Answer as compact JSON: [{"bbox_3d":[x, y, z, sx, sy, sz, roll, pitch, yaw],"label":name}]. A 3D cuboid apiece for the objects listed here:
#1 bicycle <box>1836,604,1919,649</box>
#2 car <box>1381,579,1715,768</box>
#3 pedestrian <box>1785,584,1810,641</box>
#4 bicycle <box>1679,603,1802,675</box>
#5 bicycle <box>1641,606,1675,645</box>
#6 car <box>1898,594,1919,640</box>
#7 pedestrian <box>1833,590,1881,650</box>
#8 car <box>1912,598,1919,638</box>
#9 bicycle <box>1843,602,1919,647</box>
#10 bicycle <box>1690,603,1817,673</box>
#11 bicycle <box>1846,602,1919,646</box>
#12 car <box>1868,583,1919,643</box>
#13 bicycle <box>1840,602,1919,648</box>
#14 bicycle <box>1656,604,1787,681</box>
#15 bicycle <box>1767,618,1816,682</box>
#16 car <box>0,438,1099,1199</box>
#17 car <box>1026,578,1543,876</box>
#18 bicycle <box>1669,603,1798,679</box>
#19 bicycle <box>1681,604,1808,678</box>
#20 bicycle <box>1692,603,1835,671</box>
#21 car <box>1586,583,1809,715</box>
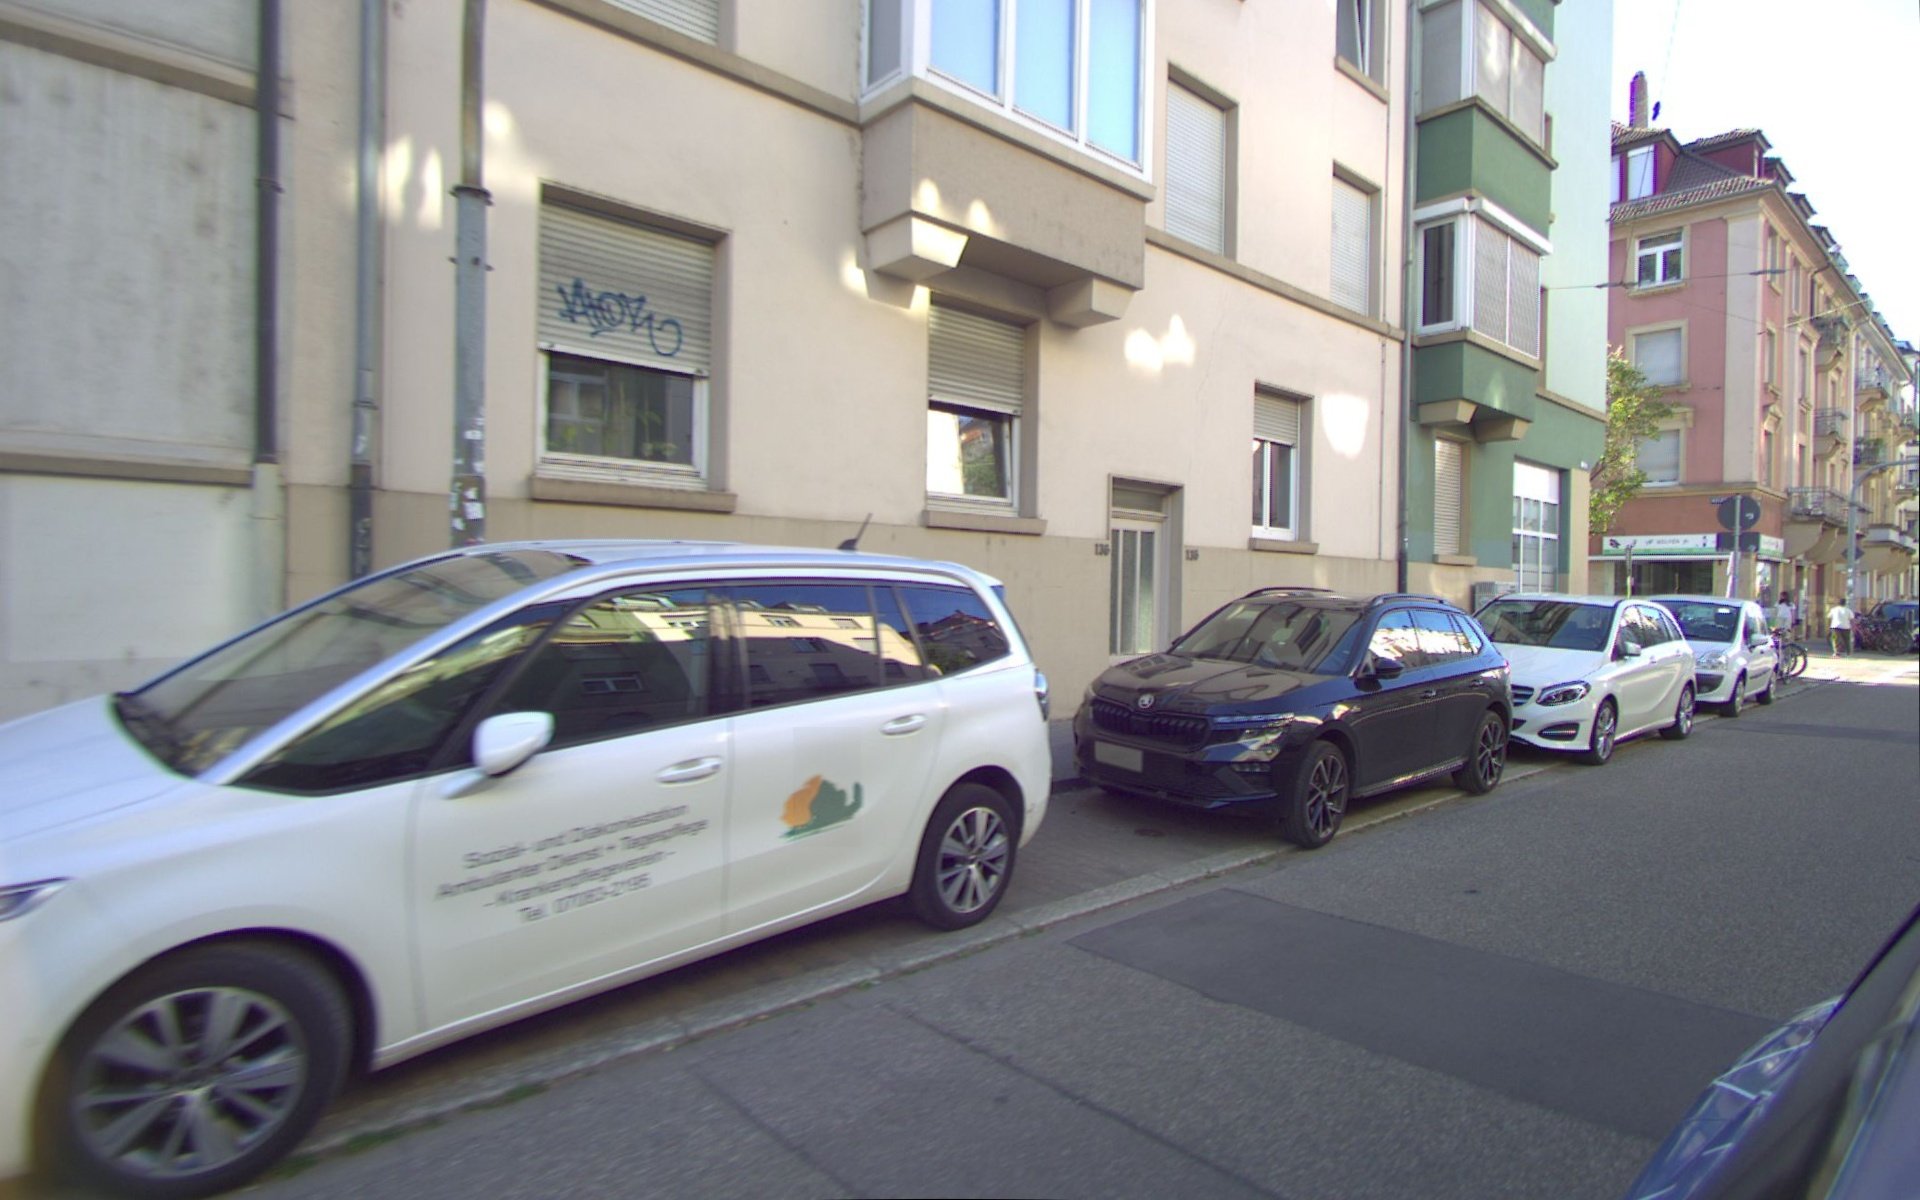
[{"bbox_3d":[26.874,0.753,29.495,0.518,1.175,1.927,1,2,-40],"label":"bicycle"},{"bbox_3d":[6.354,0.614,10.738,4.251,1.595,1.787,0,1,-41],"label":"car"},{"bbox_3d":[25.508,0.381,30.813,0.440,1.708,0.514,1,0,-41],"label":"pedestrian"},{"bbox_3d":[14.792,0.716,19.229,0.461,1.168,1.727,1,4,-40],"label":"bicycle"},{"bbox_3d":[21.514,0.766,31.202,1.698,1.169,0.468,0,0,-42],"label":"bicycle"},{"bbox_3d":[35.626,0.613,36.839,3.663,1.614,1.757,0,1,-40],"label":"car"},{"bbox_3d":[25.071,0.548,28.291,0.688,1.654,0.733,-1,-1,-22],"label":"pedestrian"},{"bbox_3d":[38.929,0.710,39.898,4.396,1.532,1.657,0,1,-41],"label":"car"},{"bbox_3d":[27.724,0.718,30.226,0.518,1.242,1.963,1,2,-40],"label":"bicycle"},{"bbox_3d":[15.660,0.721,20.020,0.461,1.168,1.847,1,4,-40],"label":"bicycle"},{"bbox_3d":[28.140,0.716,30.604,0.518,1.242,1.963,1,2,-40],"label":"bicycle"},{"bbox_3d":[30.730,0.425,32.465,4.427,1.756,1.757,0,4,-41],"label":"car"},{"bbox_3d":[27.324,0.720,29.846,0.518,1.242,1.963,1,2,-40],"label":"bicycle"},{"bbox_3d":[13.483,0.728,17.963,0.461,1.168,1.727,1,4,-40],"label":"bicycle"},{"bbox_3d":[14.628,0.856,17.793,1.697,1.058,0.353,0,0,-40],"label":"bicycle"},{"bbox_3d":[-1.479,0.513,3.999,1.655,1.774,4.529,2,1,44],"label":"car"},{"bbox_3d":[2.586,0.666,7.451,4.262,1.586,1.658,0,1,-41],"label":"car"},{"bbox_3d":[13.945,0.710,18.297,0.461,1.168,1.727,1,4,-40],"label":"bicycle"},{"bbox_3d":[14.472,0.727,18.708,0.461,1.168,1.727,1,4,-40],"label":"bicycle"},{"bbox_3d":[16.195,0.713,20.440,0.833,1.168,2.092,1,3,-40],"label":"bicycle"},{"bbox_3d":[10.830,0.603,14.767,3.930,1.652,1.787,0,1,-41],"label":"car"}]
